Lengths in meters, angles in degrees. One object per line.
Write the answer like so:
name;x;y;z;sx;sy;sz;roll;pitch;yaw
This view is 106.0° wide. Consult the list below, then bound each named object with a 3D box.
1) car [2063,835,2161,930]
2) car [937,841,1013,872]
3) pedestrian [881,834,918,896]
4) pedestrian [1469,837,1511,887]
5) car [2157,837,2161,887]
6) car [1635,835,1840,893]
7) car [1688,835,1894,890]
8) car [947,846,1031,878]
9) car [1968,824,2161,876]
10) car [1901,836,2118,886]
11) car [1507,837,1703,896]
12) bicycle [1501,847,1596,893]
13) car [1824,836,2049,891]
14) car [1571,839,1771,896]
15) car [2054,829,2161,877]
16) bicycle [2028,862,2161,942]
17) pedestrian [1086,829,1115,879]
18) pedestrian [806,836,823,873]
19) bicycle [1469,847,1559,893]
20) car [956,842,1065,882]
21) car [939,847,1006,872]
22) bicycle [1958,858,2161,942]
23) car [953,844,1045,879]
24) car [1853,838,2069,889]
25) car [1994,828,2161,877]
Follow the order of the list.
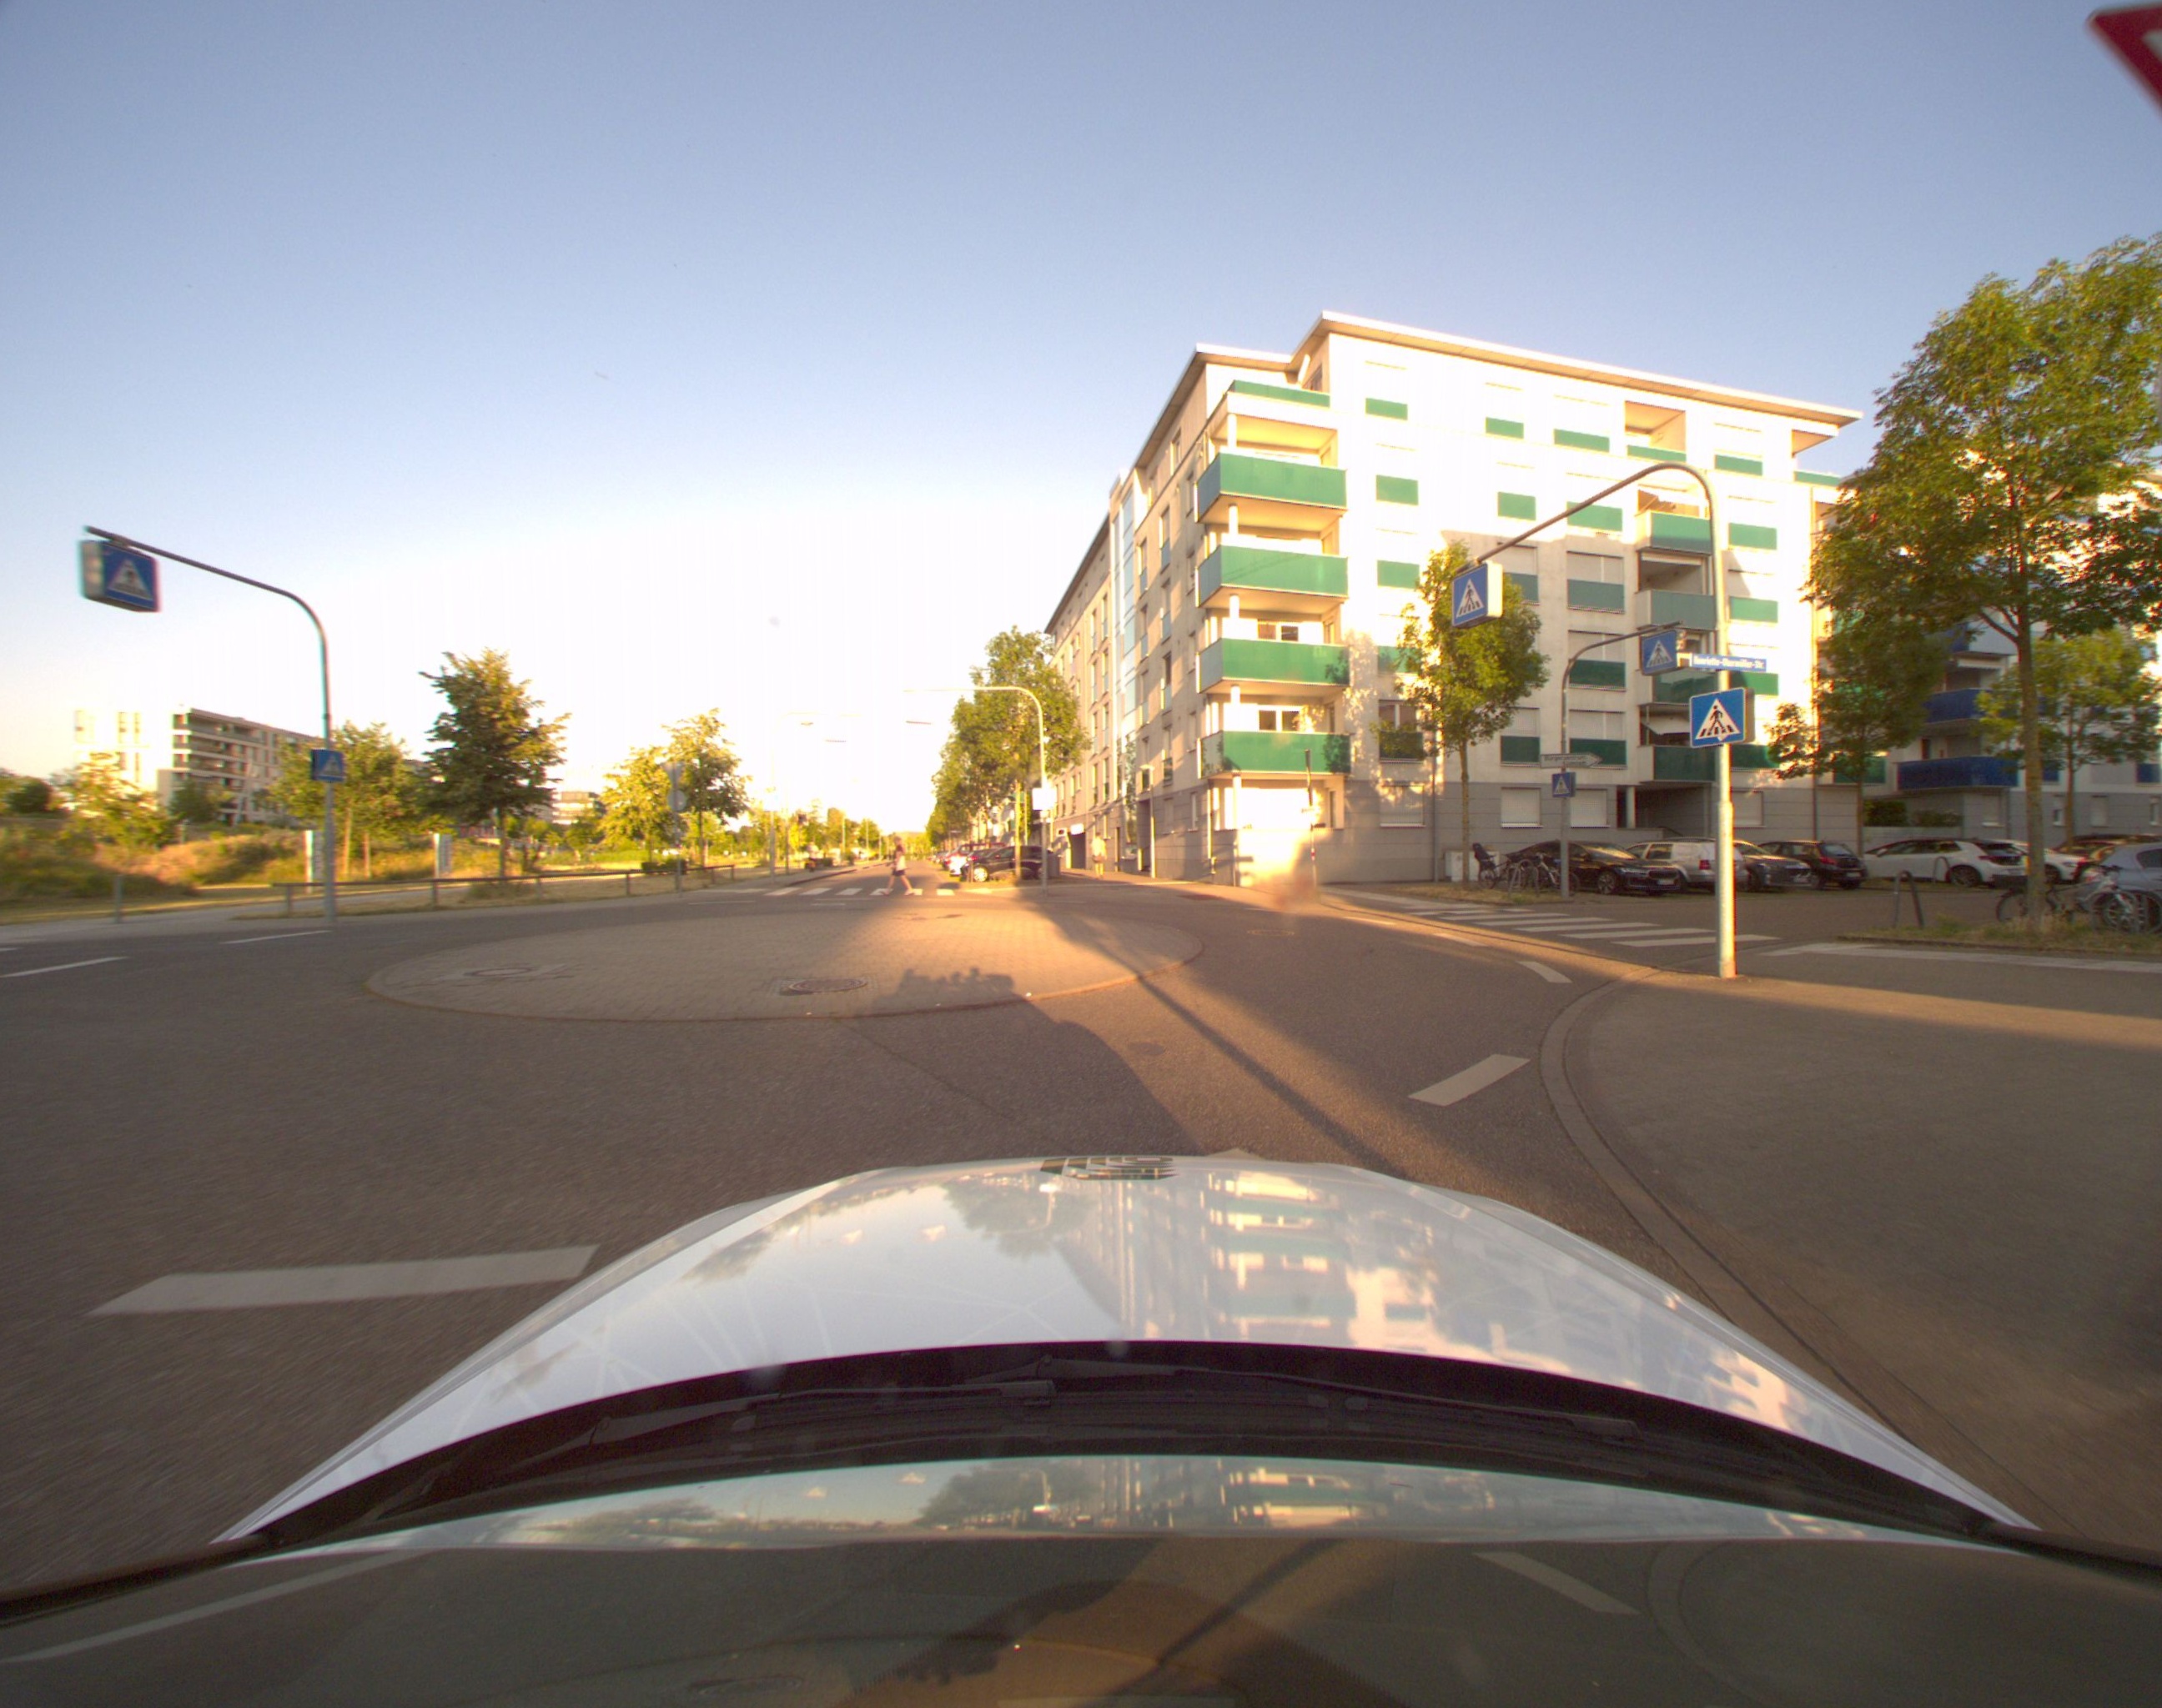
car;17.783;0.370;11.764;1.998;1.453;4.095;-1;-3;-16
car;-7.500;0.177;57.530;5.013;2.045;2.238;-1;0;-16
pedestrian;-5.382;0.314;24.119;1.006;1.788;0.758;1;-1;-18
pedestrian;11.464;0.222;22.842;0.658;1.355;0.799;-1;0;-14
car;20.054;0.327;12.299;1.998;1.453;4.095;-1;-3;-16
car;19.563;0.254;24.576;1.995;1.553;4.573;-1;0;-13
car;22.014;0.240;25.537;1.995;1.553;4.573;-1;0;-13
car;-4.824;0.409;42.575;4.264;1.596;1.993;-1;0;-10
car;35.851;-0.147;29.573;1.995;1.740;4.573;-1;0;-13
car;31.810;0.203;28.131;1.995;1.553;4.573;-1;0;-13
car;14.514;0.312;22.937;1.995;1.453;4.573;-1;0;-13
bicycle;12.472;0.393;21.840;0.688;1.151;2.510;-1;0;-14
car;27.005;0.275;25.970;1.995;1.553;4.573;-1;0;-13
car;17.041;0.350;23.860;1.995;1.453;4.573;-1;0;-13
car;41.379;-0.052;31.391;1.995;1.832;4.573;-1;0;-13
bicycle;15.330;0.688;11.801;0.723;1.114;1.933;-1;-3;-13
pedestrian;0.788;-0.004;33.110;0.942;2.013;0.845;-1;0;-15
pedestrian;-14.702;0.038;44.909;0.870;2.013;0.784;-1;0;-22
bicycle;11.661;0.404;22.046;0.697;1.151;2.449;-1;0;-14
car;-3.050;0.342;34.919;4.485;1.596;1.993;-1;0;-10
car;-7.276;0.348;54.492;4.266;1.596;1.992;-1;0;-12
bicycle;14.452;0.665;12.005;0.723;1.114;1.933;-1;-3;-13
car;-4.074;0.335;39.949;4.355;1.596;1.993;-1;0;-10
car;29.339;0.294;27.391;1.995;1.553;4.573;-1;0;-13
car;38.697;-0.076;31.201;1.995;1.740;4.573;-1;0;-13
